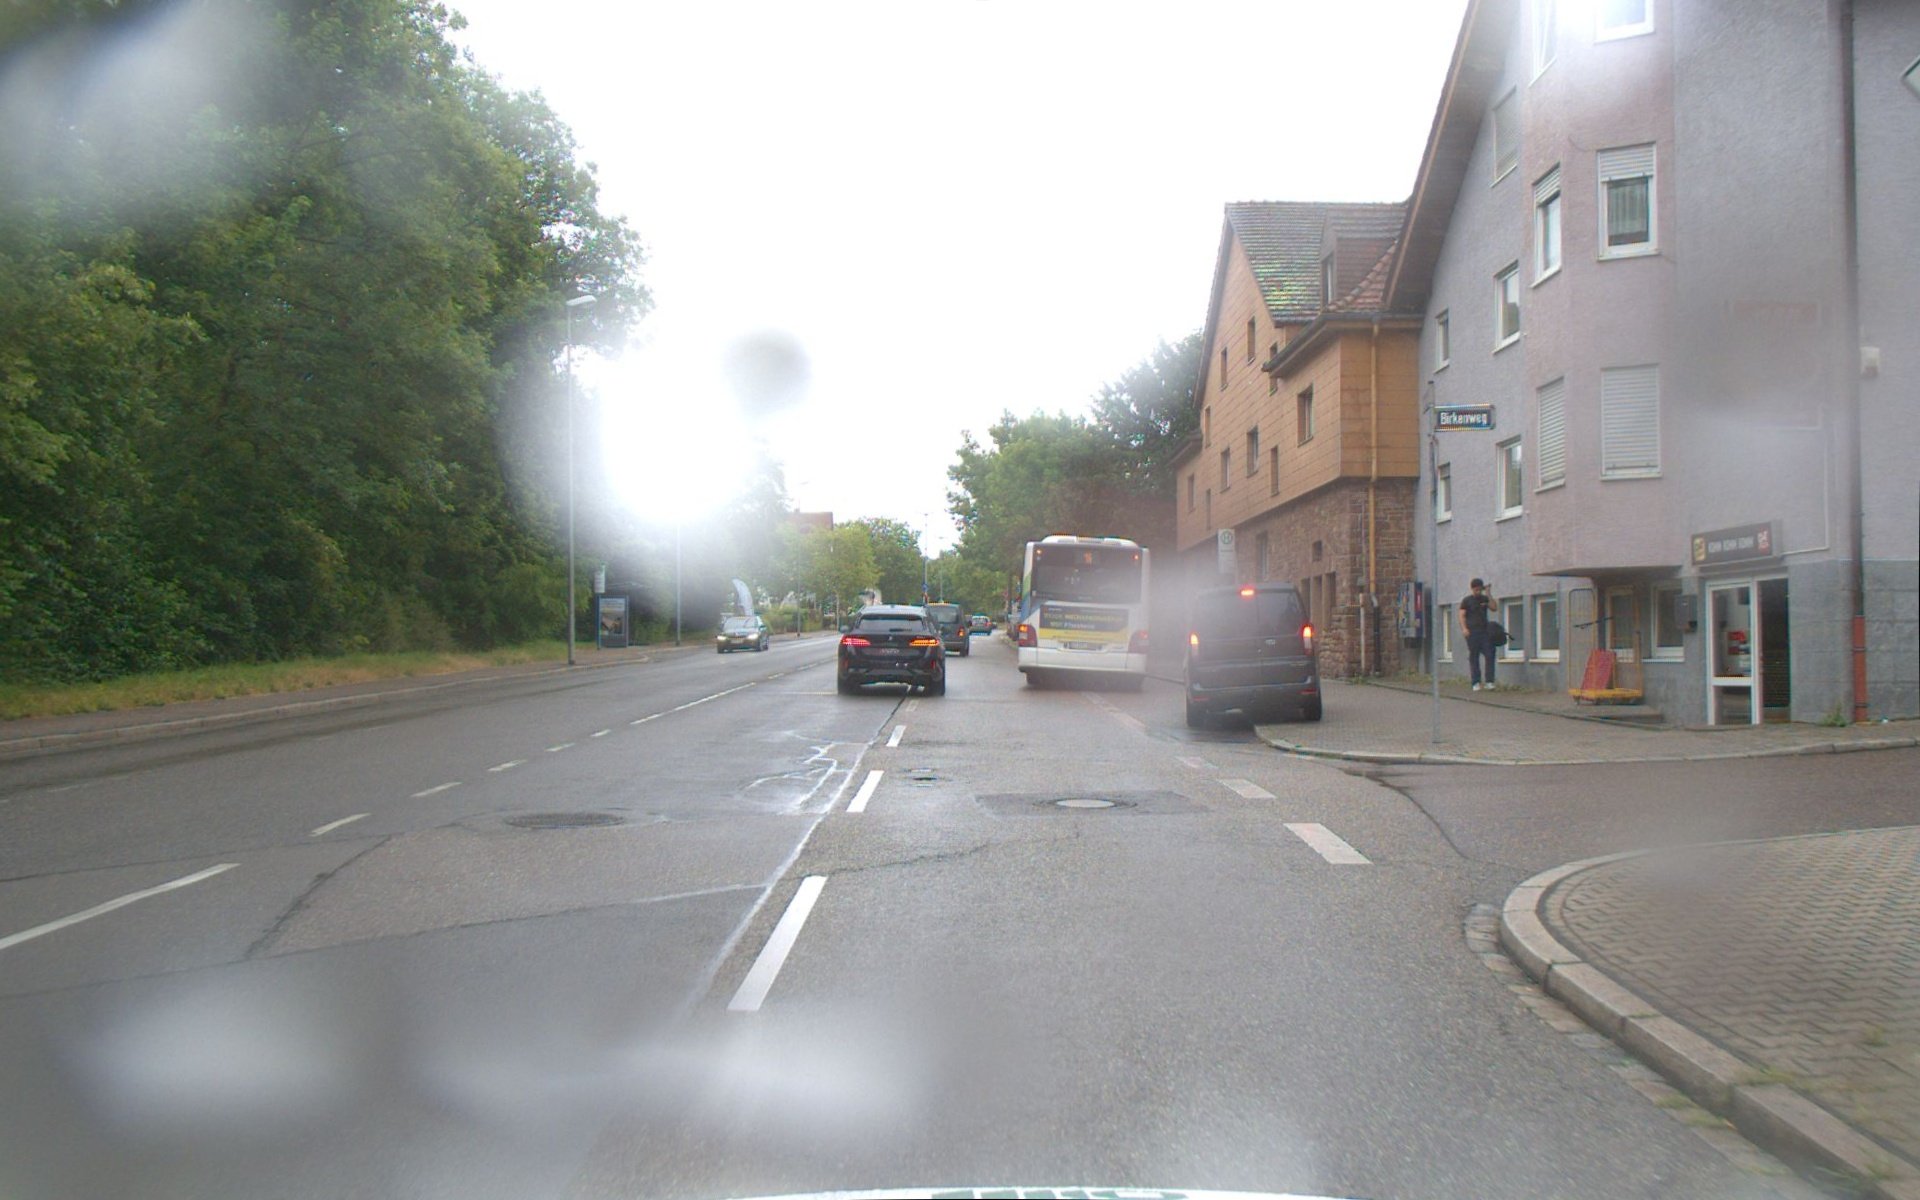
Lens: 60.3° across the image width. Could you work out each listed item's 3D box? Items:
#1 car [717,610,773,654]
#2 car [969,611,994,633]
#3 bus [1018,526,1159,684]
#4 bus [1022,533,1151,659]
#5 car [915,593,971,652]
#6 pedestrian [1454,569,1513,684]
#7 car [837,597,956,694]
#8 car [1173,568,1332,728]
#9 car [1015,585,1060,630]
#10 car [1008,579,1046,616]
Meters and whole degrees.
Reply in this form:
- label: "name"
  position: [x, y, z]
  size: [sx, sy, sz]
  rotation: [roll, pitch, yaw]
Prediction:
- label: "car"
  position: [-8.664, 1.275, 66.903]
  size: [1.734, 1.560, 4.000]
  rotation: [-2, 1, -1]
- label: "car"
  position: [1.692, 1.733, 131.216]
  size: [1.827, 1.545, 4.000]
  rotation: [-1, 2, -1]
- label: "bus"
  position: [2.811, 0.013, 35.170]
  size: [2.567, 2.897, 8.295]
  rotation: [-1, 1, 6]
- label: "bus"
  position: [3.189, -0.192, 44.108]
  size: [2.569, 2.897, 9.794]
  rotation: [-2, 1, 0]
- label: "car"
  position: [-0.592, 0.788, 60.170]
  size: [1.952, 2.049, 4.000]
  rotation: [0, 1, 0]
- label: "pedestrian"
  position: [8.324, 0.407, 26.305]
  size: [0.676, 1.785, 0.669]
  rotation: [-2, 0, -1]
- label: "car"
  position: [-1.200, 0.762, 29.647]
  size: [1.954, 1.478, 3.997]
  rotation: [2, 1, -4]
- label: "car"
  position: [4.082, 0.619, 23.500]
  size: [1.886, 1.925, 4.765]
  rotation: [-4, -1, 8]
- label: "car"
  position: [3.823, 0.360, 81.828]
  size: [1.953, 2.048, 4.000]
  rotation: [-1, 2, -1]
- label: "car"
  position: [3.886, -0.180, 96.254]
  size: [1.953, 2.048, 4.000]
  rotation: [-1, 2, -1]
